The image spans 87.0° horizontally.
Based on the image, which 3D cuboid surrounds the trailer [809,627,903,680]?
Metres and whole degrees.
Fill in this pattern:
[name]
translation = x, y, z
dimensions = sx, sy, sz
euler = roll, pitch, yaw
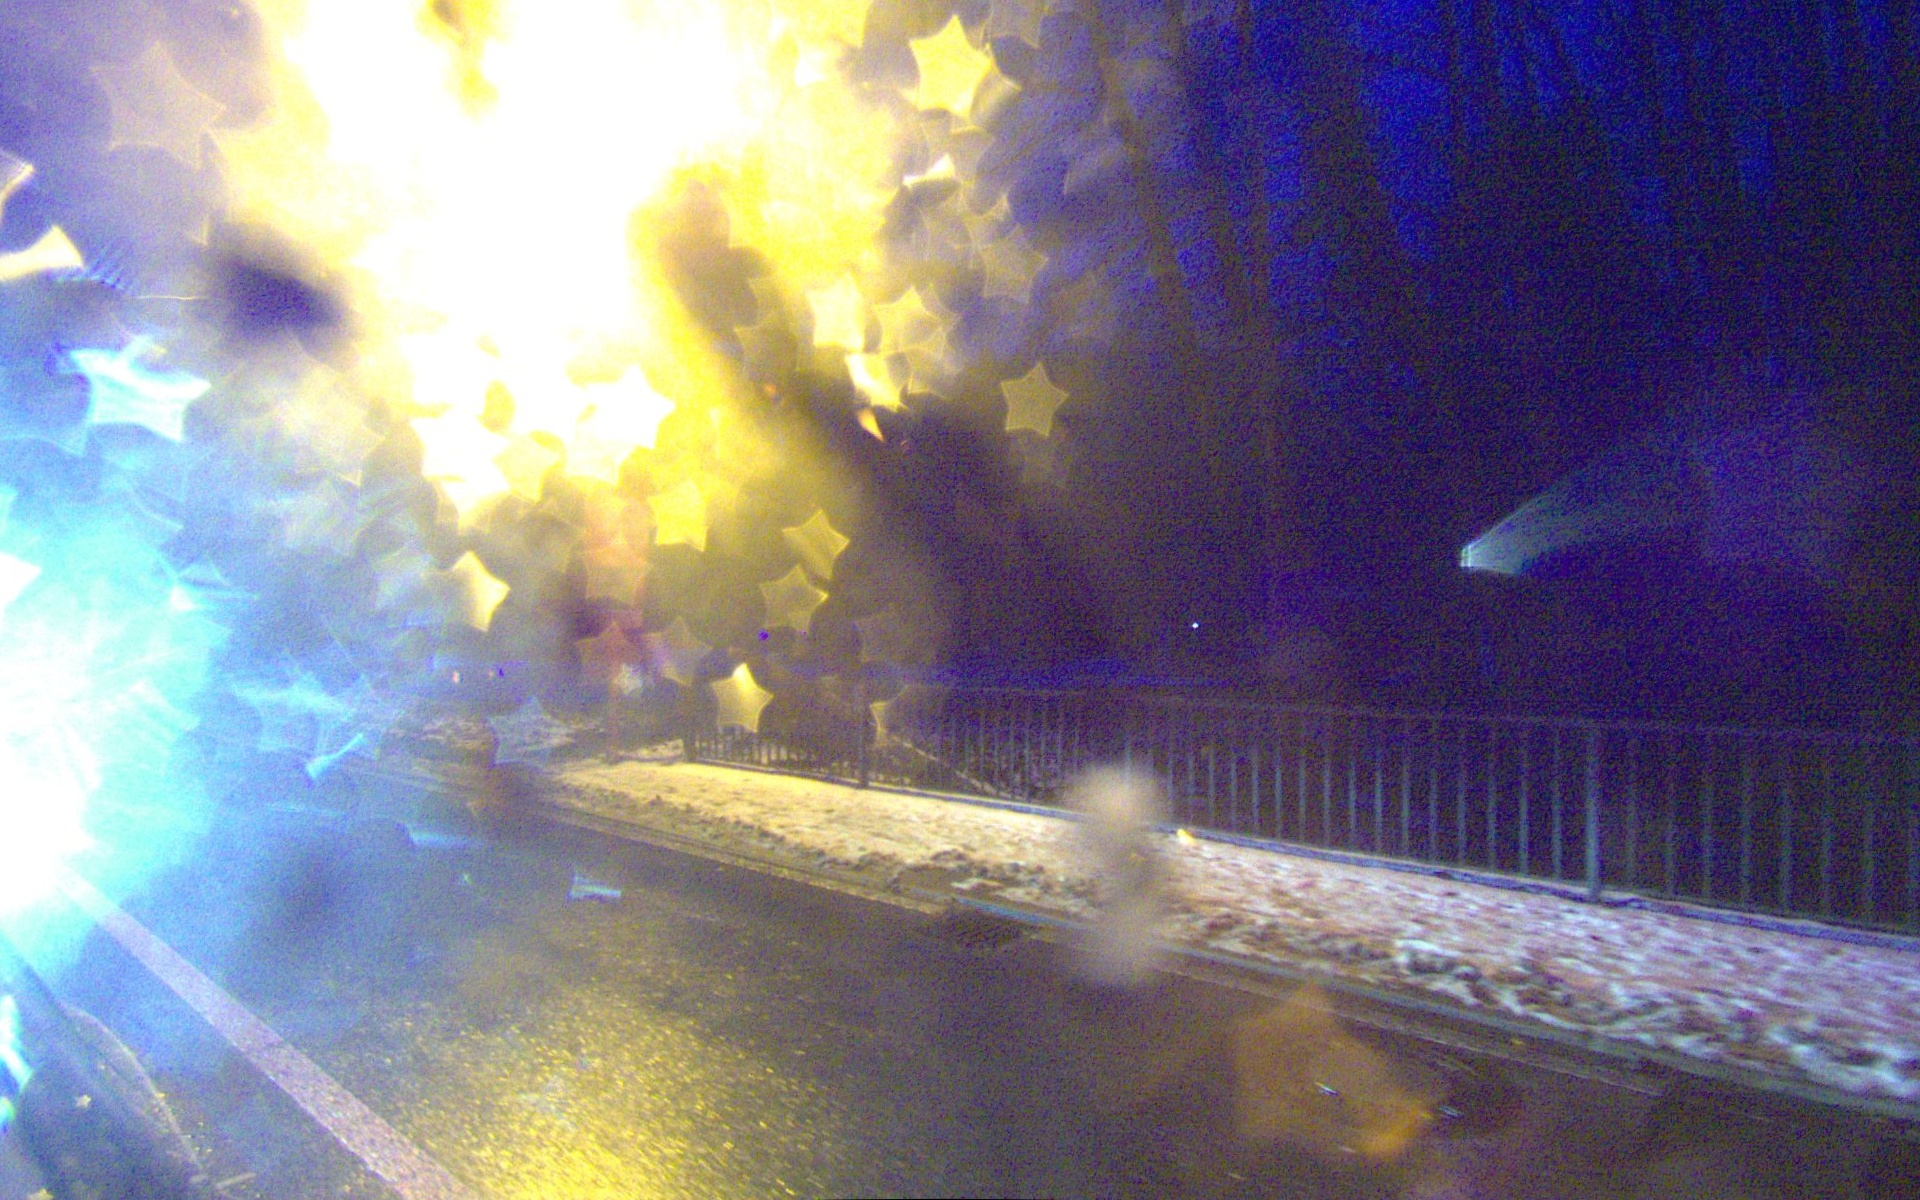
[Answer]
[trailer]
translation = -4.838, 2.463, 46.947
dimensions = 3.745, 2.234, 1.980
euler = 4, -3, -31
